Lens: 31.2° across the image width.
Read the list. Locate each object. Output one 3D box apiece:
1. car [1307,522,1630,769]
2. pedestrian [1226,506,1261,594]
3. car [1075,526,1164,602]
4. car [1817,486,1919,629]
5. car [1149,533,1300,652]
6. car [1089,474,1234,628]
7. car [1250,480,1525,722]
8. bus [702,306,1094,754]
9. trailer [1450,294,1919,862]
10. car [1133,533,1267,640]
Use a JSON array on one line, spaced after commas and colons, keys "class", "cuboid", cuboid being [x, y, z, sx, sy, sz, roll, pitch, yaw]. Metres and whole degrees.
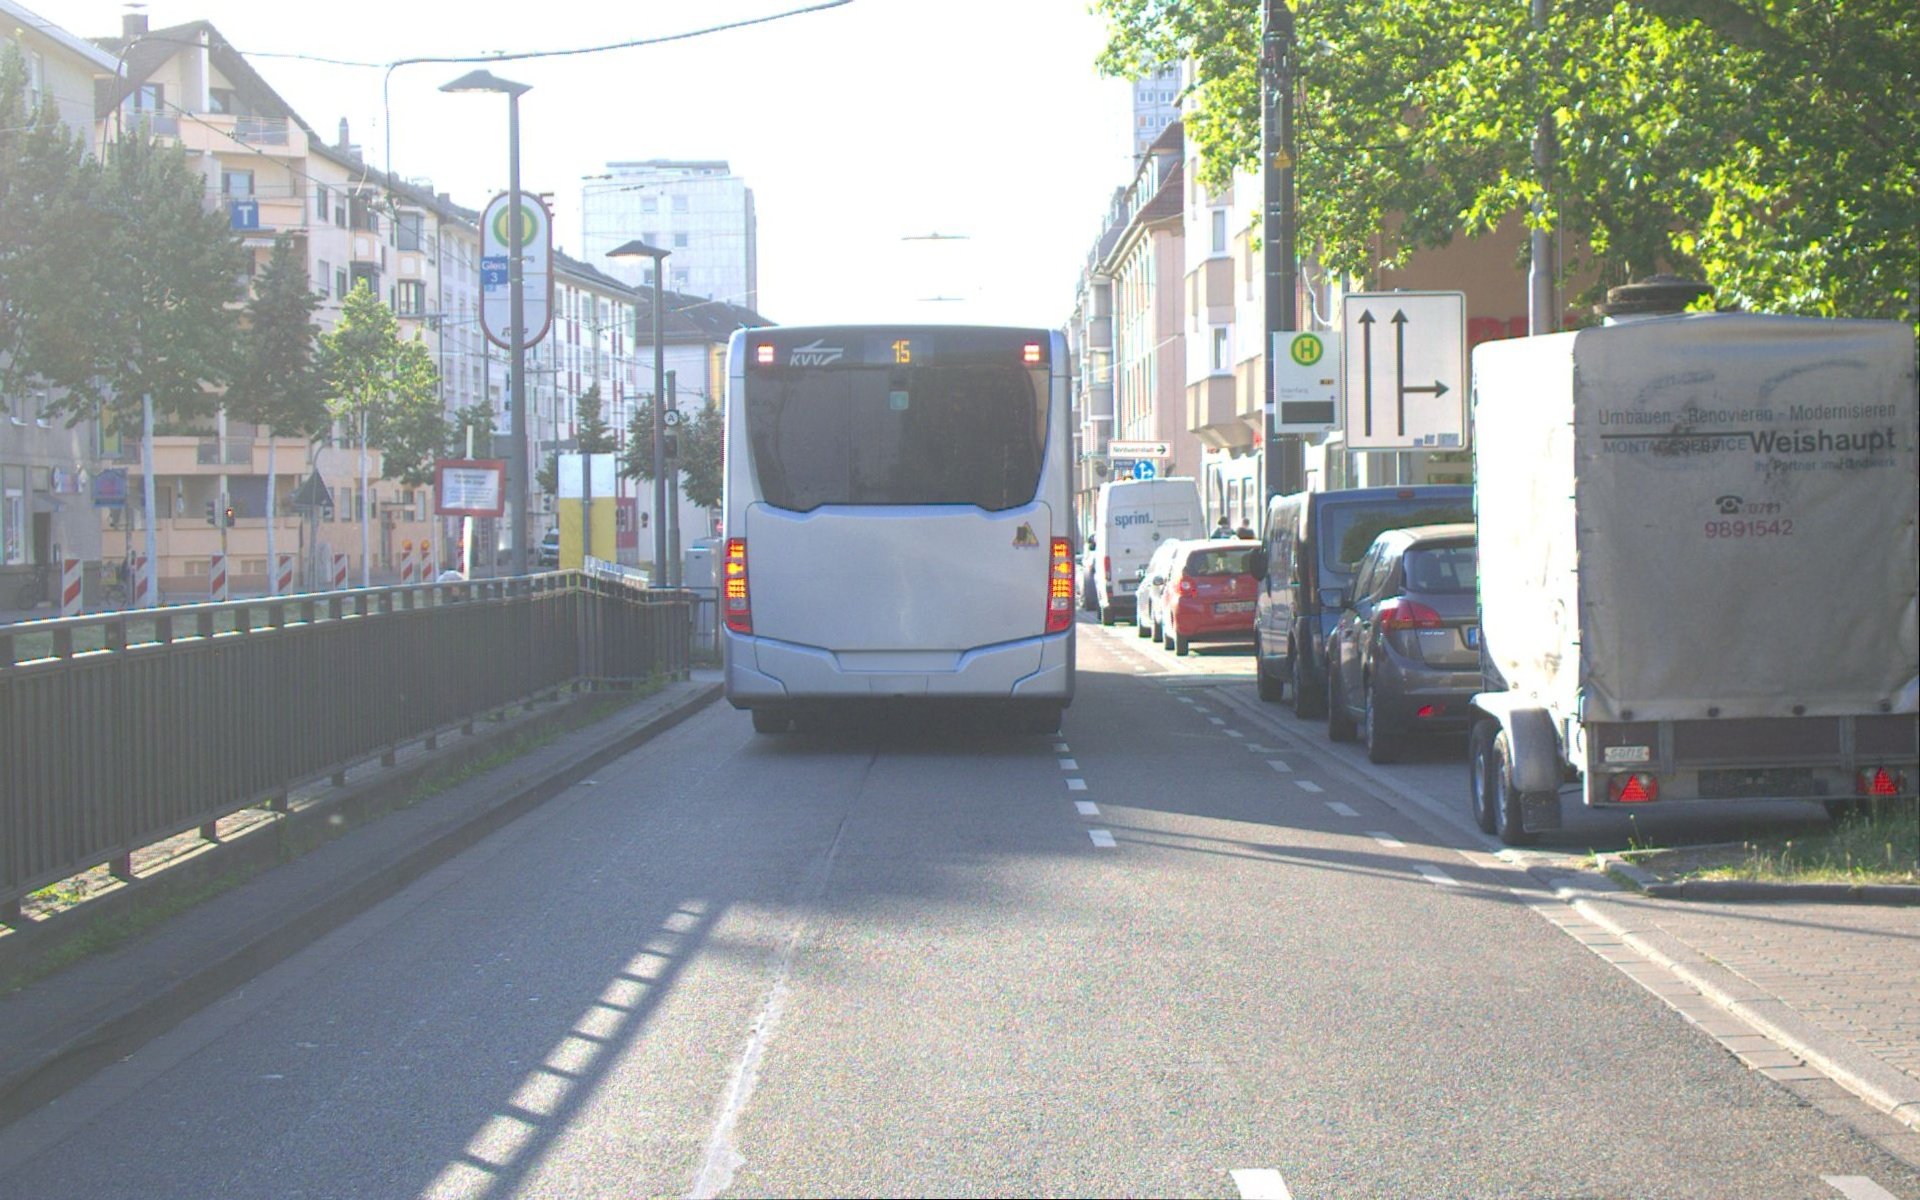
[{"class": "car", "cuboid": [3.514, 0.270, 24.360, 1.700, 1.583, 3.827, -1, 1, 0]}, {"class": "pedestrian", "cuboid": [6.351, -1.106, 77.054, 0.685, 1.940, 1.116, 0, -1, 0]}, {"class": "car", "cuboid": [3.390, -0.784, 73.709, 1.729, 1.569, 3.675, -1, 1, 0]}, {"class": "car", "cuboid": [11.937, -0.516, 39.123, 3.920, 1.583, 1.706, -1, 1, 0]}, {"class": "car", "cuboid": [3.535, -0.130, 46.539, 1.671, 1.458, 3.933, -3, 1, 0]}, {"class": "car", "cuboid": [3.596, -0.890, 62.416, 2.282, 2.618, 5.309, -1, 1, 0]}, {"class": "car", "cuboid": [3.701, -0.025, 30.506, 1.847, 1.950, 4.544, -1, 1, 0]}, {"class": "bus", "cuboid": [-0.512, -0.582, 29.457, 2.733, 3.128, 10.704, 0, 1, -1]}, {"class": "trailer", "cuboid": [3.650, -0.130, 17.327, 1.832, 2.549, 3.319, -1, 1, 0]}, {"class": "car", "cuboid": [3.552, -0.216, 51.419, 1.671, 1.458, 3.933, -3, 1, 0]}]
